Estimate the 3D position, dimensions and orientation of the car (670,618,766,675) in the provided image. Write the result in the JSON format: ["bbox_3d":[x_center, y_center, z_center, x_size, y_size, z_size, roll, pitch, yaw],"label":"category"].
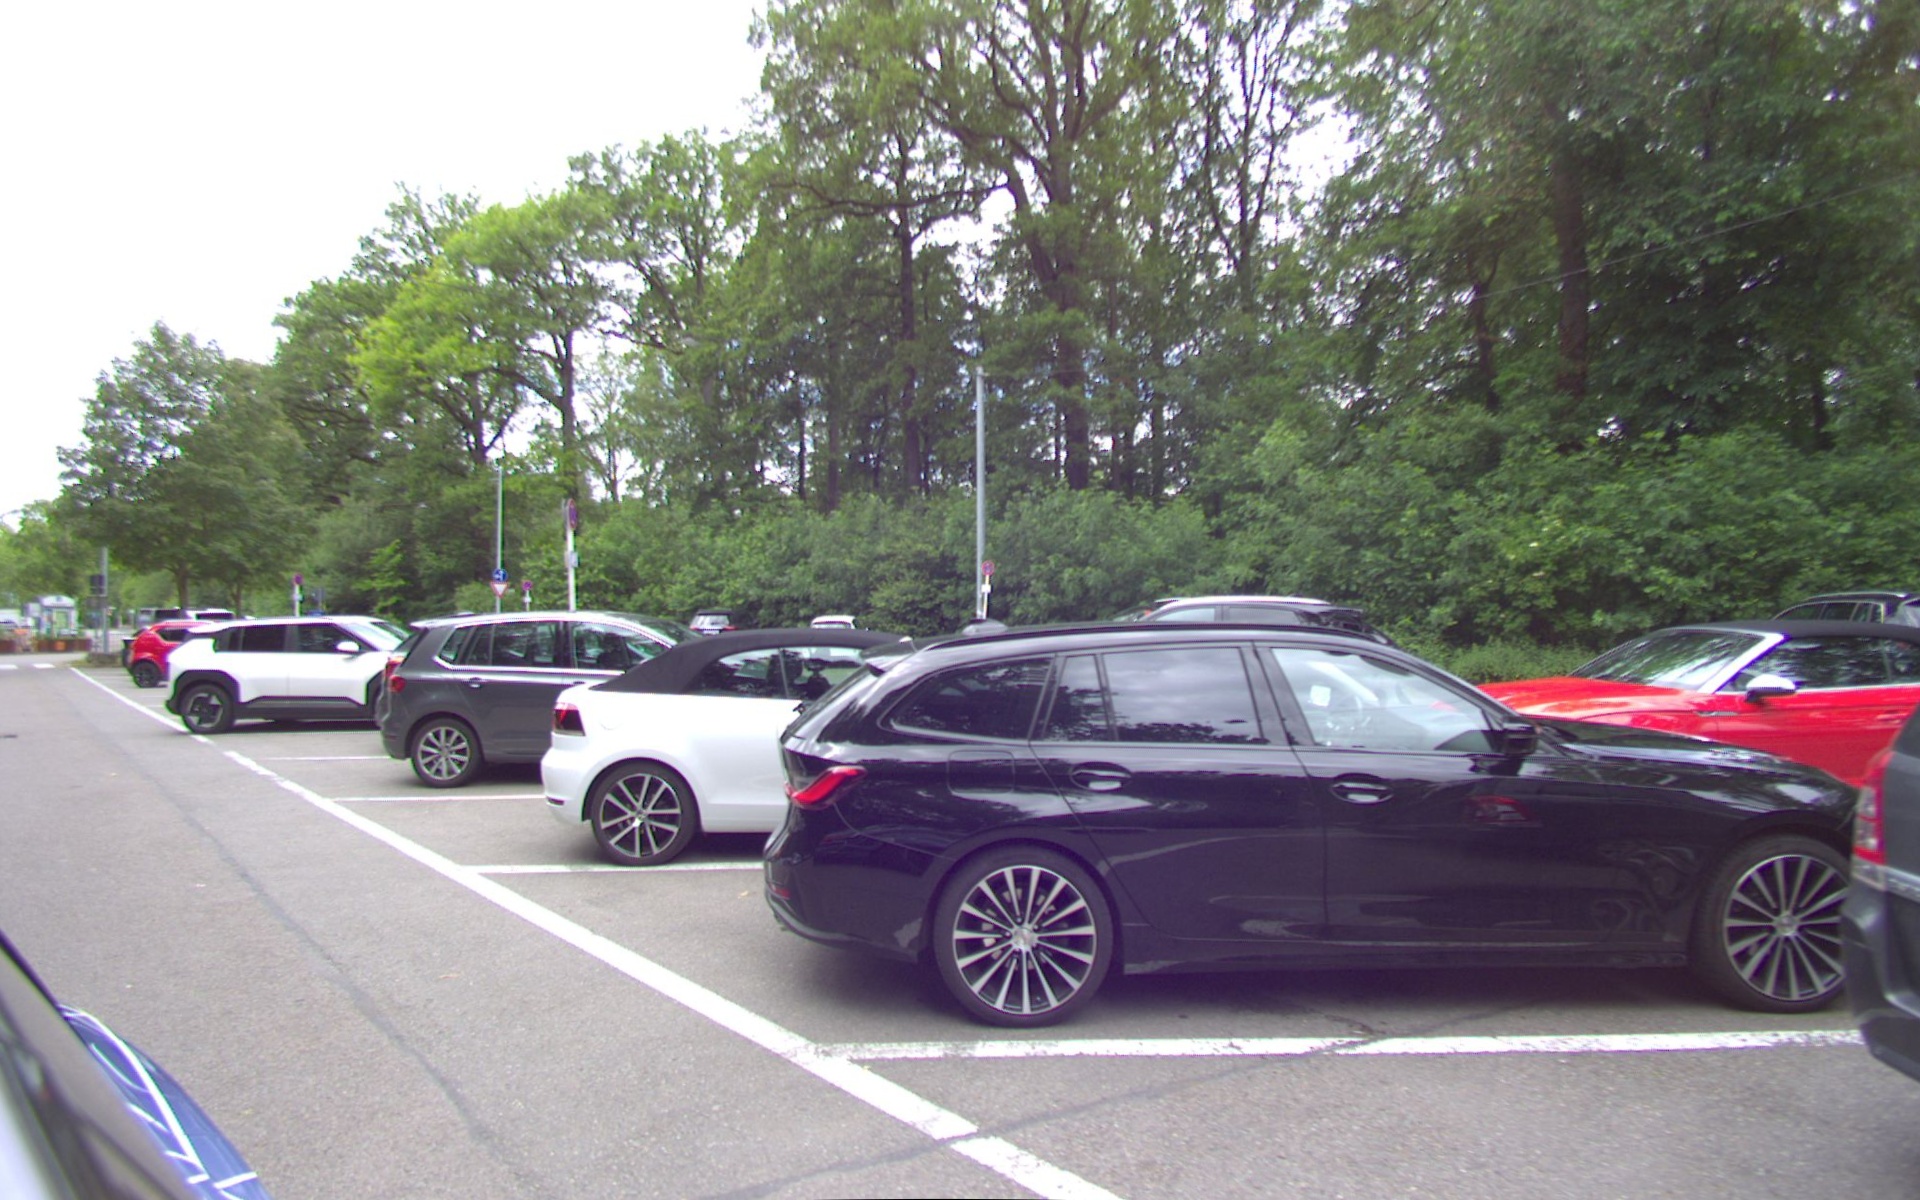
[{"bbox_3d":[-8.137,1.548,34.523,2.083,1.780,4.706,-1,-2,1],"label":"car"}]

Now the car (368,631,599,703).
[{"bbox_3d":[-10.400,1.443,22.328,4.253,1.453,1.870,-1,-2,-2],"label":"car"}]

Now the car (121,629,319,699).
[{"bbox_3d":[-18.020,1.533,24.780,3.601,1.597,1.687,-1,-2,-2],"label":"car"}]

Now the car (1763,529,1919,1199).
[{"bbox_3d":[4.449,0.601,1.921,4.325,1.621,1.829,-1,-1,0],"label":"car"}]

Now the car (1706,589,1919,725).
[{"bbox_3d":[12.842,0.729,14.190,1.760,1.698,4.069,-1,-1,2],"label":"car"}]

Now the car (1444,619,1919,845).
[{"bbox_3d":[6.089,0.849,7.257,4.331,1.405,1.768,-1,-1,1],"label":"car"}]

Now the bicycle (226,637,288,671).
[{"bbox_3d":[-24.654,1.891,35.498,1.761,1.120,0.483,0,-1,-41],"label":"bicycle"}]

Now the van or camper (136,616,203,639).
[{"bbox_3d":[-101.776,3.470,130.426,2.180,2.871,7.316,-1,-1,10],"label":"van or camper"}]

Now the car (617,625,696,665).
[{"bbox_3d":[-11.231,1.629,37.706,1.716,1.386,3.998,-1,-1,1],"label":"car"}]

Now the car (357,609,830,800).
[{"bbox_3d":[-3.347,0.946,9.800,3.922,1.599,1.847,-1,-2,1],"label":"car"}]

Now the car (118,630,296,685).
[{"bbox_3d":[-22.352,1.689,30.136,4.046,1.534,1.829,-1,-1,3],"label":"car"}]

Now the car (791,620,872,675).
[{"bbox_3d":[-3.786,1.385,30.423,1.844,1.522,3.998,-1,-2,1],"label":"car"}]

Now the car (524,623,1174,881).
[{"bbox_3d":[-0.660,0.914,6.790,3.793,1.454,1.772,-1,-1,1],"label":"car"}]

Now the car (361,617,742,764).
[{"bbox_3d":[-4.750,1.029,12.294,3.938,1.566,1.875,-1,-2,-6],"label":"car"}]

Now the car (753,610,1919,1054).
[{"bbox_3d":[1.380,0.809,4.374,4.217,1.454,1.760,-1,-1,-1],"label":"car"}]

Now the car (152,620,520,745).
[{"bbox_3d":[-8.759,1.127,14.495,4.129,1.609,1.847,-1,-2,-2],"label":"car"}]

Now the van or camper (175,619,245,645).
[{"bbox_3d":[-84.545,3.550,114.221,2.043,2.871,7.327,-1,-1,5],"label":"van or camper"}]

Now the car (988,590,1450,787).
[{"bbox_3d":[2.316,0.796,9.870,3.942,1.676,1.899,-1,-1,-1],"label":"car"}]

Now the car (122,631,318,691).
[{"bbox_3d":[-19.920,1.608,27.376,3.942,1.495,1.877,-1,-1,-2],"label":"car"}]
